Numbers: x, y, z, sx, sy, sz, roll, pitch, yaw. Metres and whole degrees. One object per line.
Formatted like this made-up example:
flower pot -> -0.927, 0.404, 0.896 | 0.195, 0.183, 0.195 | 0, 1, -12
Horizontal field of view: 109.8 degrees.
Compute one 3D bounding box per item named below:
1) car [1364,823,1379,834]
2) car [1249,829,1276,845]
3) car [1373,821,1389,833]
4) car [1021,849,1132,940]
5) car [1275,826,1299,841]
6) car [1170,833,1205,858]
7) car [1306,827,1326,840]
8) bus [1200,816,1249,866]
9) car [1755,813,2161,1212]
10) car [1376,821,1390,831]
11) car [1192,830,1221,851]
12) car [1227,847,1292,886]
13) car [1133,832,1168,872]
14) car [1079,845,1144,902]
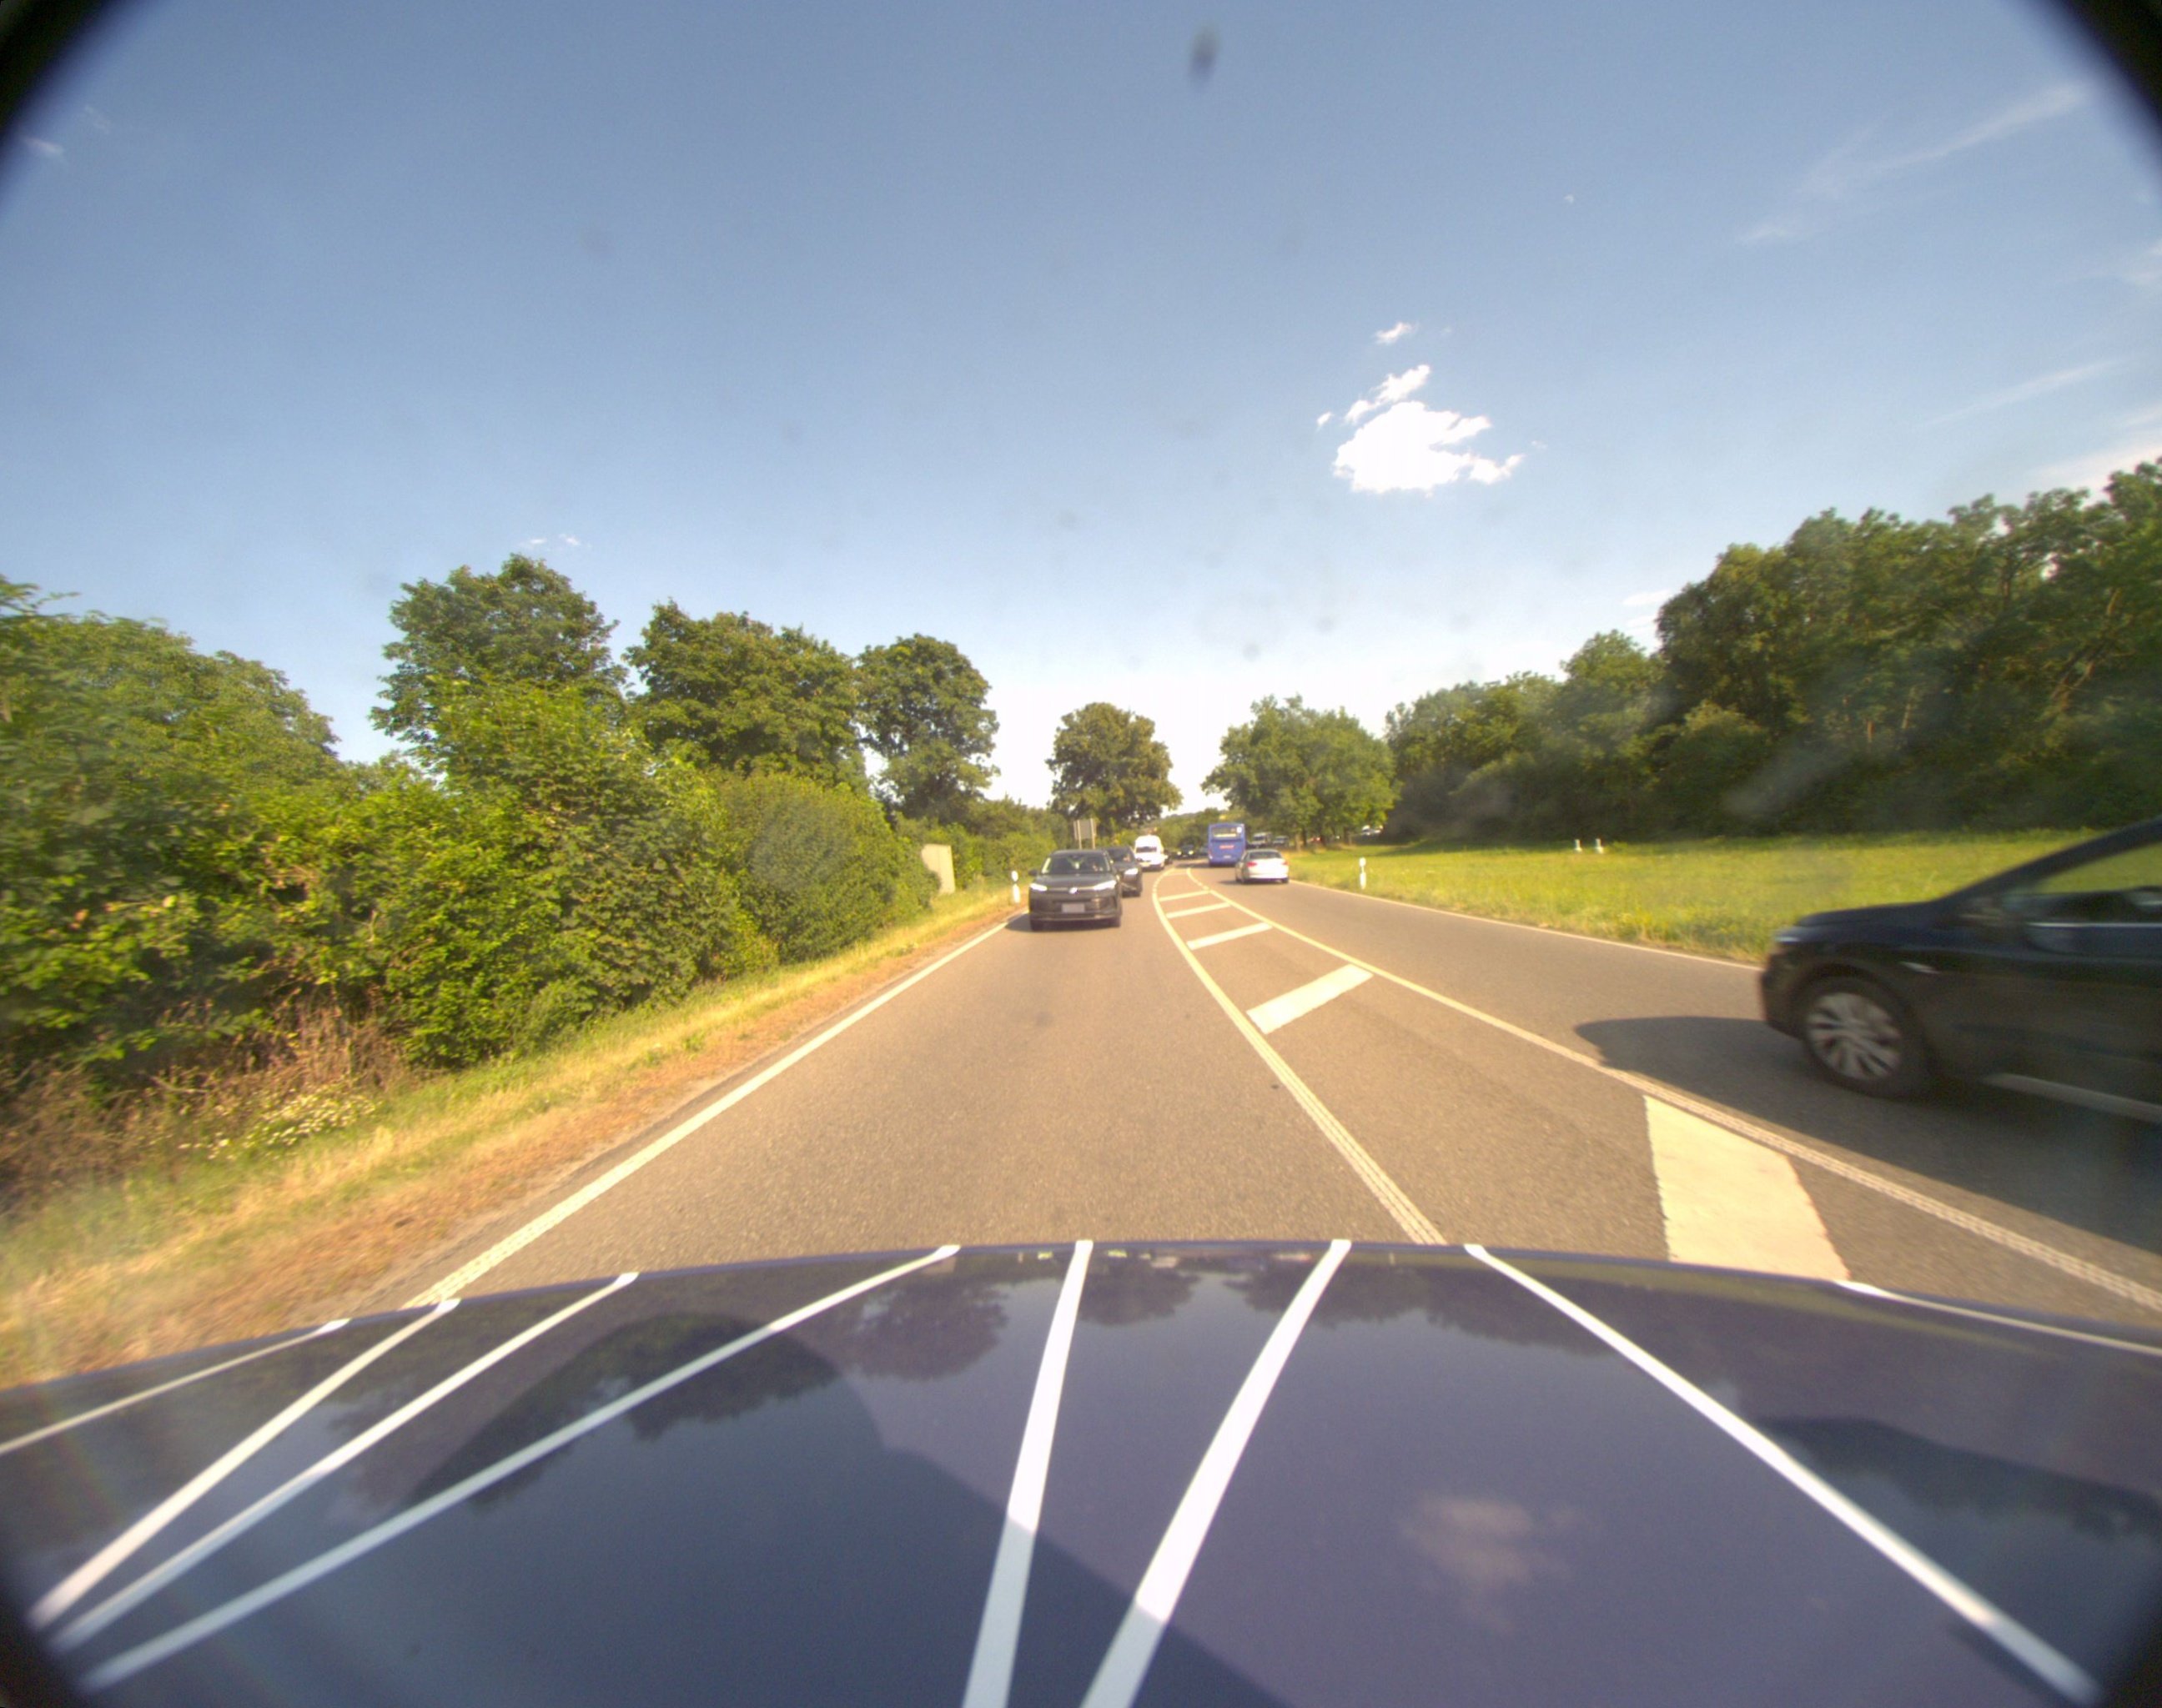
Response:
car -> 72.121, -6.420, 188.759 | 2.084, 2.403, 5.151 | -2, 2, 38
car -> 29.200, -2.755, 121.987 | 2.084, 2.403, 5.151 | -2, 2, 38
car -> 69.645, -6.330, 176.478 | 2.084, 2.403, 5.151 | -2, 2, 38
car -> 0.074, 0.764, 16.837 | 1.921, 1.612, 4.703 | -3, 1, 5
car -> 35.257, -3.493, 129.864 | 2.084, 2.403, 5.151 | -2, 2, 38
car -> 11.595, -0.906, 82.184 | 2.085, 2.403, 5.149 | -3, 2, 26
car -> 47.717, -4.090, 153.975 | 2.084, 2.403, 5.151 | -2, 2, 38
bus -> 10.562, -1.040, 57.000 | 2.799, 3.163, 12.130 | -3, 1, 8
car -> 5.023, 0.589, 2.589 | 1.699, 1.543, 4.152 | -2, 0, -1
car -> 79.734, -7.453, 200.720 | 2.084, 2.403, 5.151 | -2, 2, 38
car -> 15.917, -1.693, 96.227 | 2.085, 2.403, 5.149 | -3, 2, 26
car -> 7.183, 0.458, 30.973 | 1.703, 1.326, 4.749 | -3, 1, 3
car -> 4.631, -0.199, 51.026 | 2.088, 2.403, 5.142 | -3, 1, 4
car -> 1.171, 0.603, 26.585 | 1.921, 1.719, 4.703 | -3, 1, 5
